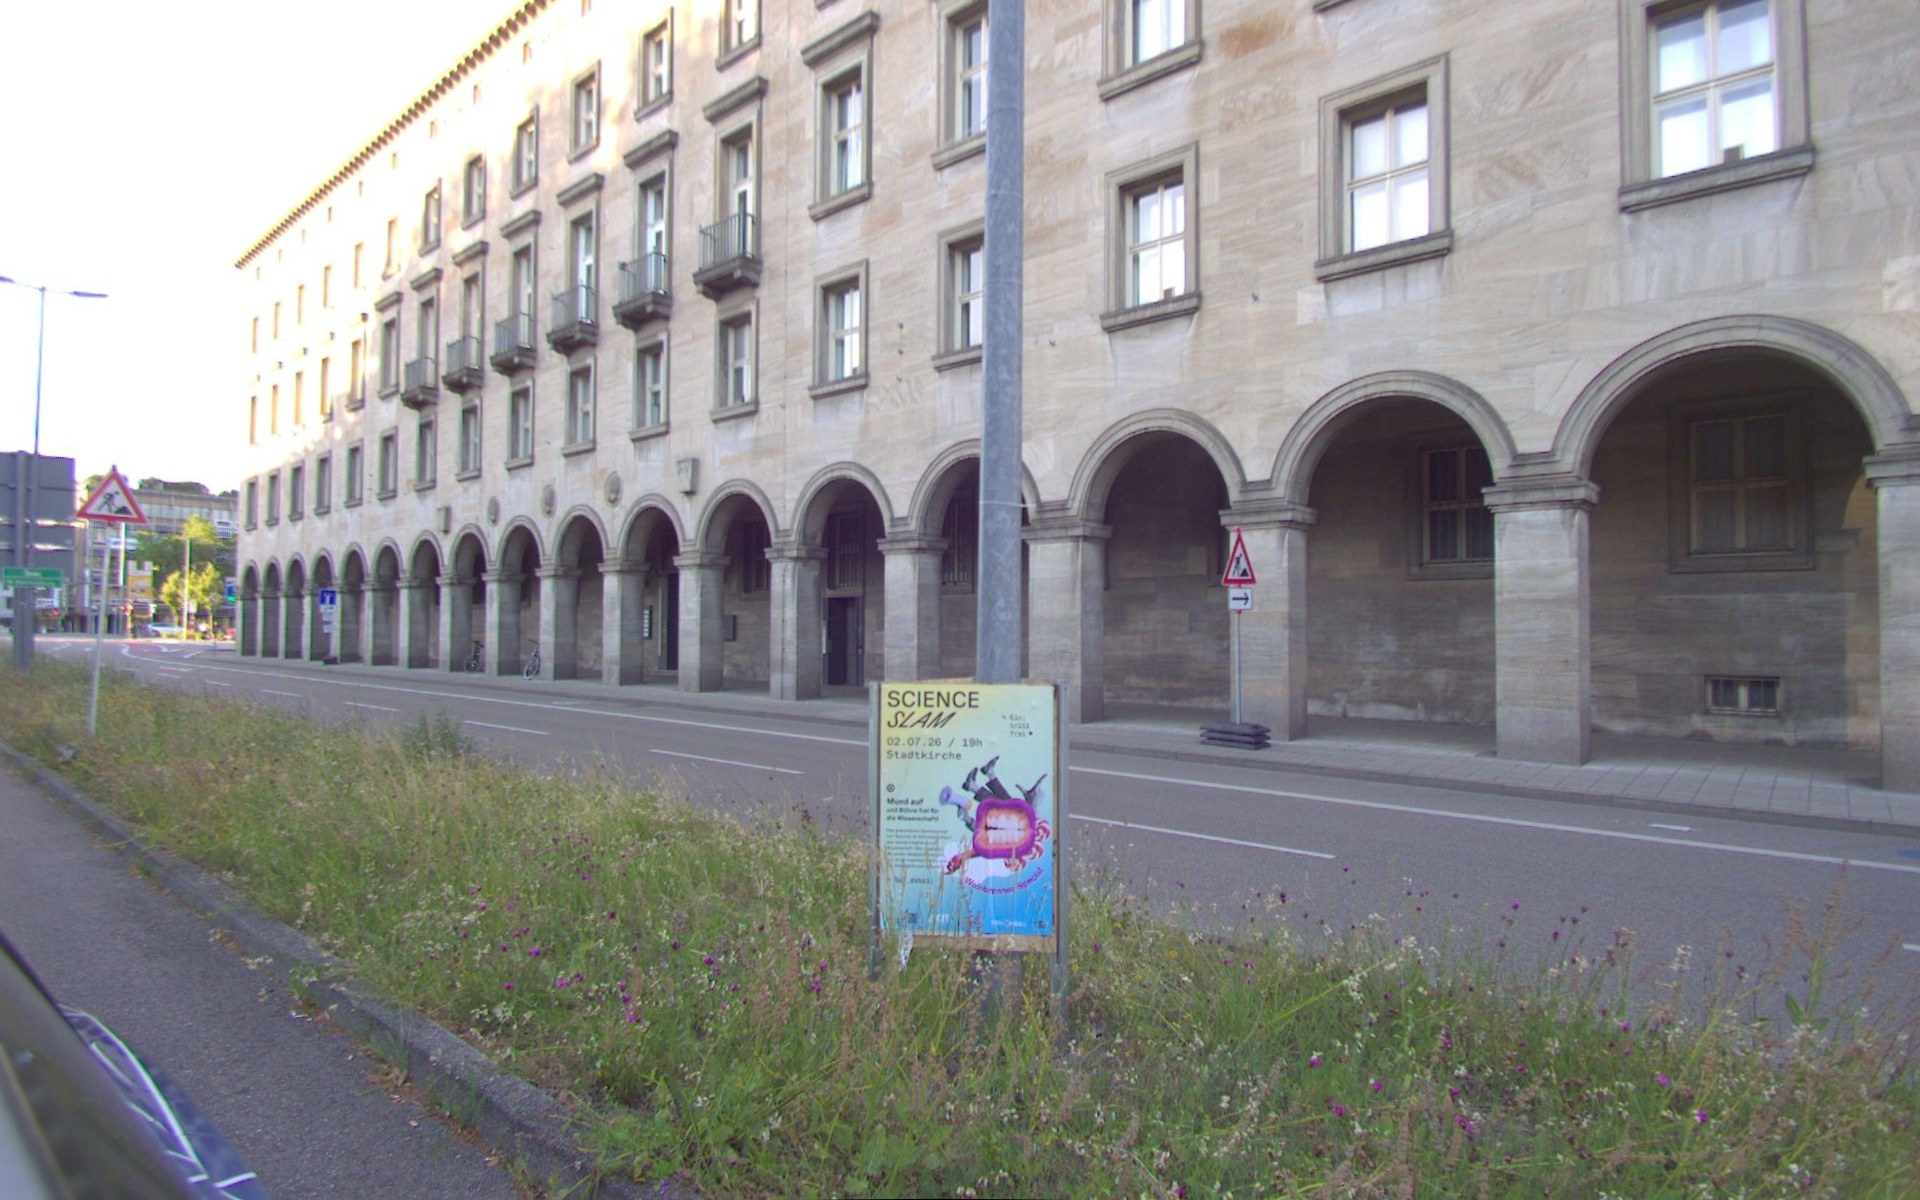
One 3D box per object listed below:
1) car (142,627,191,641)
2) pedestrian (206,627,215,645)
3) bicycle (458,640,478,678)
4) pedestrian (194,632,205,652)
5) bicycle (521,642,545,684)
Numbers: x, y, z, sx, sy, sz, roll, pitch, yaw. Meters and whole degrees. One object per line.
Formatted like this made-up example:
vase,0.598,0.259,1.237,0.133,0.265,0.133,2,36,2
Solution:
car,-91.781,3.978,117.067,1.994,1.621,3.984,-1,-3,33
pedestrian,-65.205,3.144,88.034,0.389,1.553,0.519,-2,-3,41
bicycle,-16.160,1.923,33.255,0.505,1.188,2.431,1,-2,-25
pedestrian,-65.838,3.631,87.654,0.506,1.771,0.630,-2,-3,41
bicycle,-12.719,1.860,30.163,0.505,1.130,2.431,1,-1,-20
